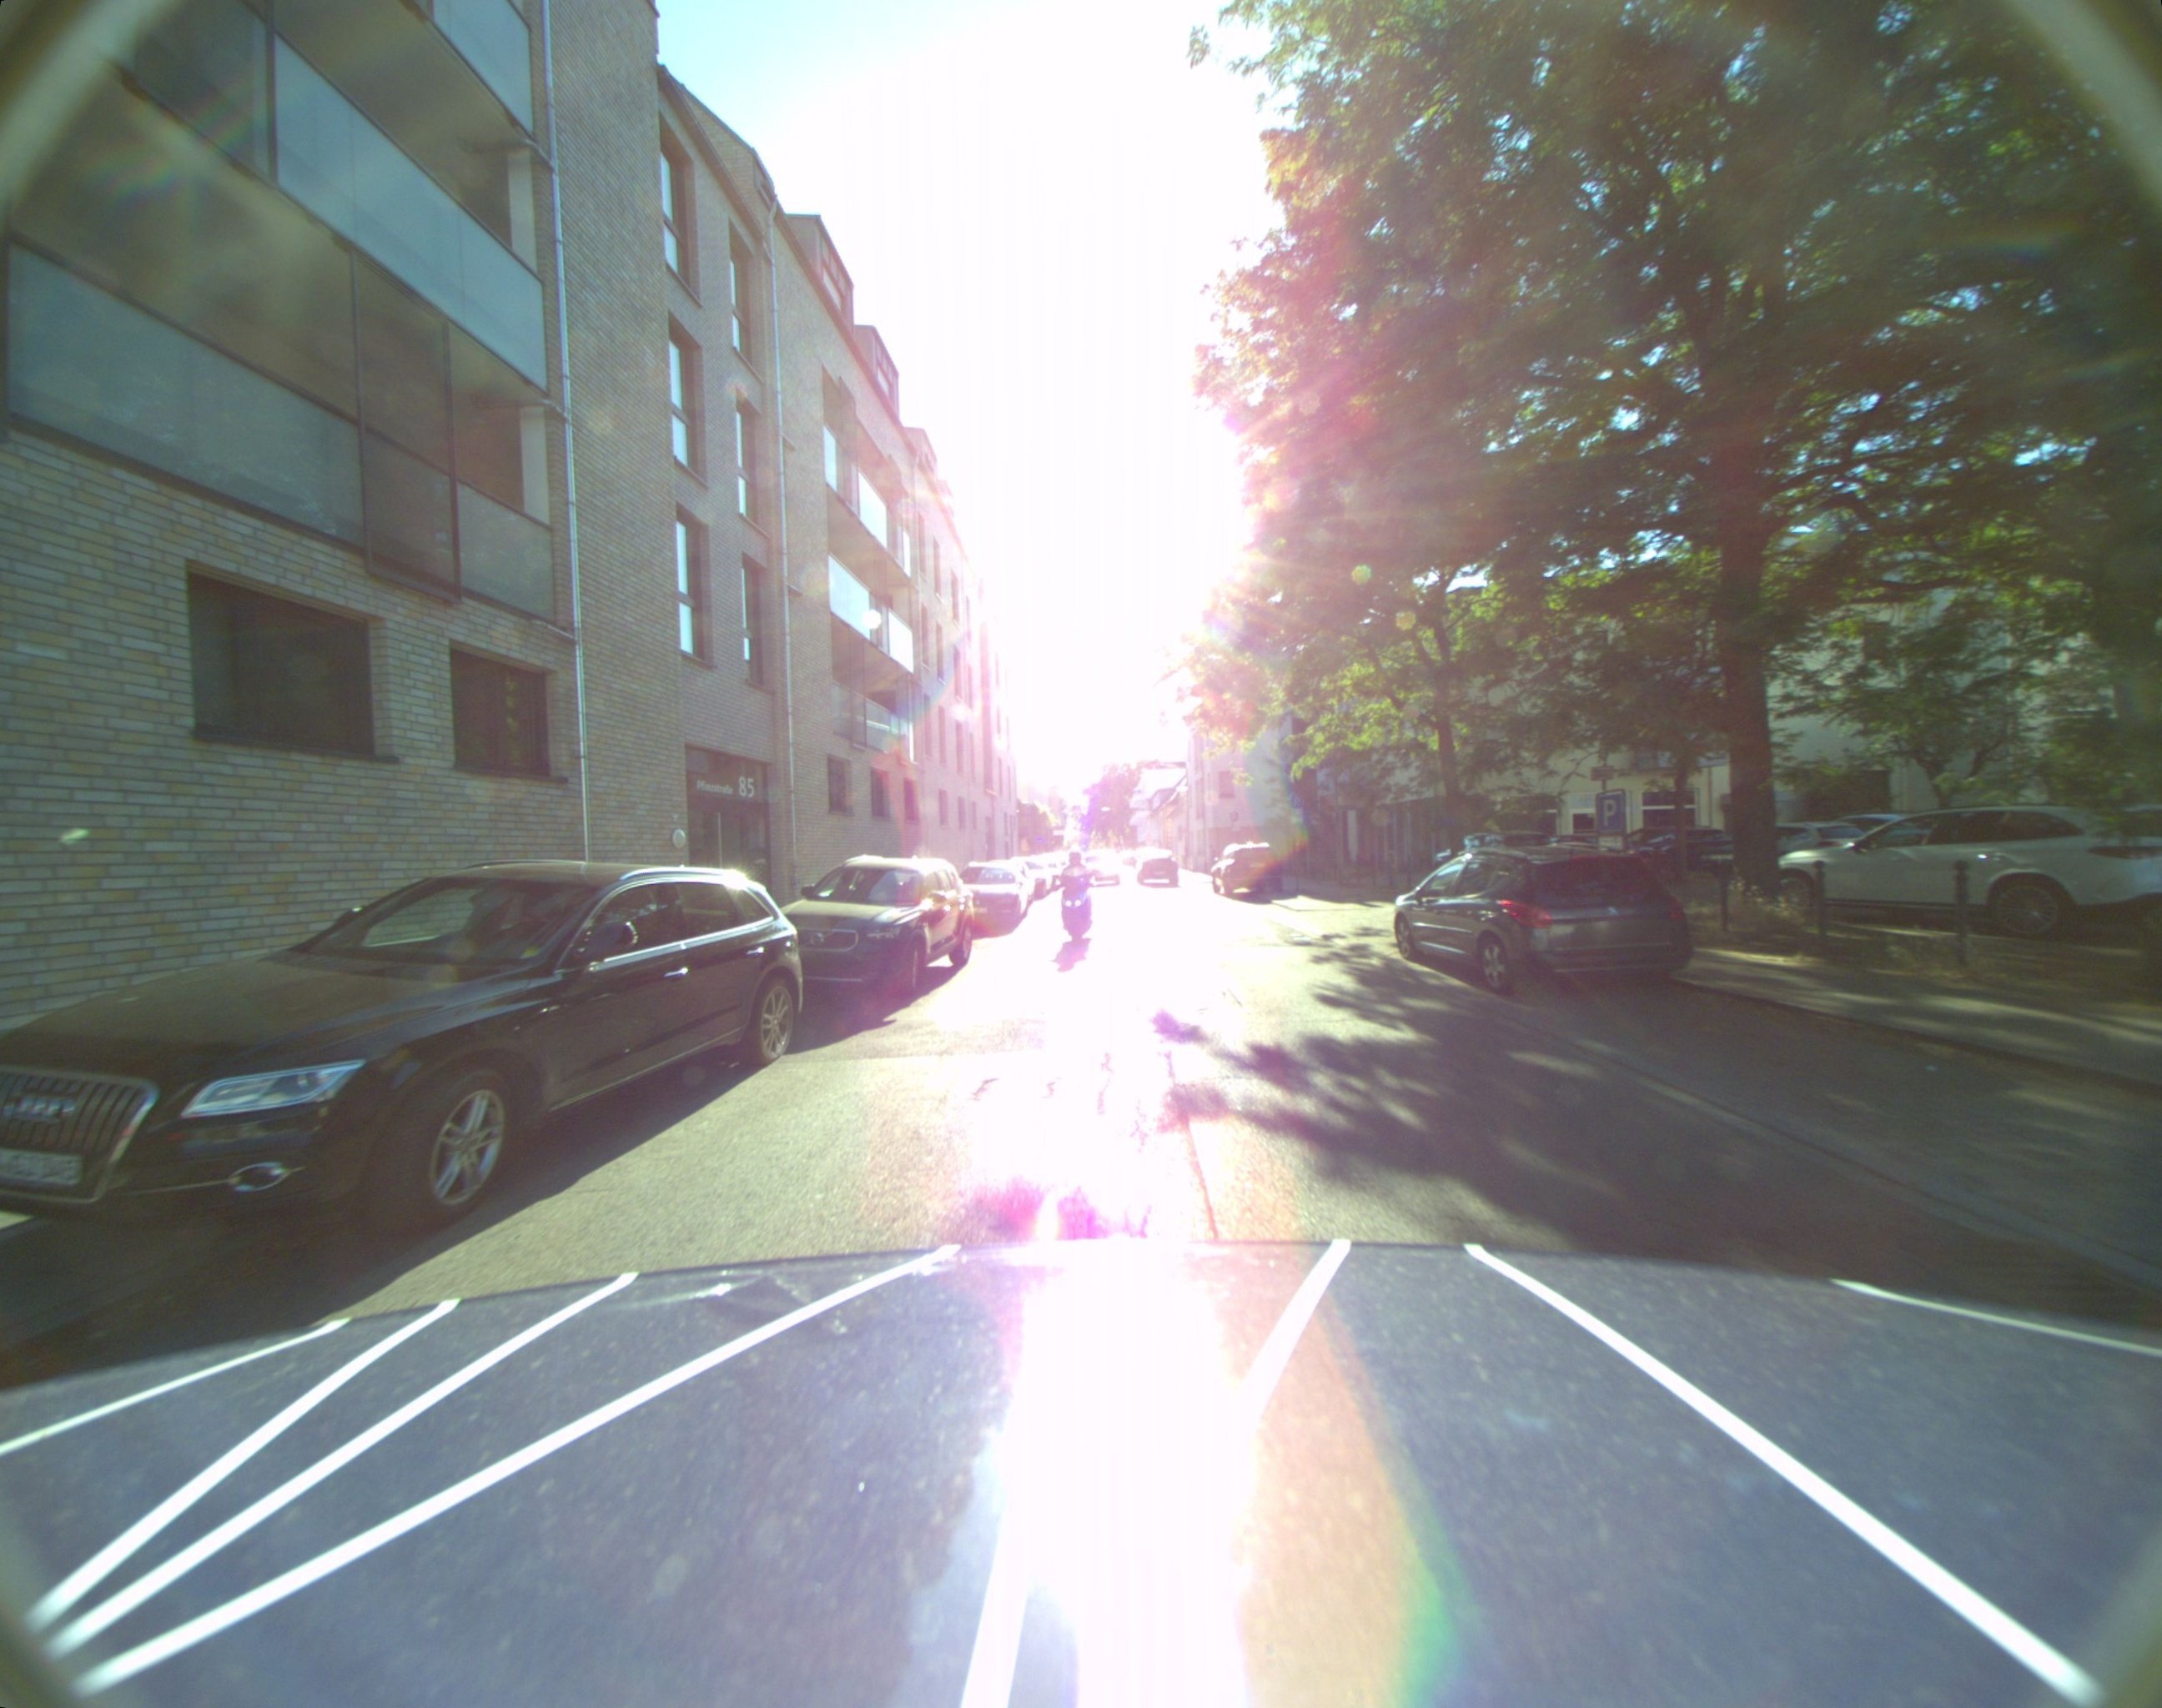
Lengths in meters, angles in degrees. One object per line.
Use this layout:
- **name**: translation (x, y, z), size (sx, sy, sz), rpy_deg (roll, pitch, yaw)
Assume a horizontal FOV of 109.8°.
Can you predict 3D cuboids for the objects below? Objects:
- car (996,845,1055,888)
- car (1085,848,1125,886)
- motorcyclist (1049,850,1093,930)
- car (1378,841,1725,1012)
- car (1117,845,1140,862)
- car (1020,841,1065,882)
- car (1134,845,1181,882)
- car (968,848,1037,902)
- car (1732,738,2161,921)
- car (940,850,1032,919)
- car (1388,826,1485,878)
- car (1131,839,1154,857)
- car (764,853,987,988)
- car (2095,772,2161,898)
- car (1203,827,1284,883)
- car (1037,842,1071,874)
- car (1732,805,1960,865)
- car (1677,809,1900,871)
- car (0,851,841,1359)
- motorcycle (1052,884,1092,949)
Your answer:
- **car**: translation (-2.102, 0.420, 29.845), size (1.729, 1.521, 4.626), rpy_deg (1, 1, 3)
- **car**: translation (1.176, 0.589, 36.698), size (1.708, 1.570, 3.915), rpy_deg (-4, 1, 2)
- **motorcyclist**: translation (-0.175, 0.646, 14.145), size (0.717, 1.425, 0.746), rpy_deg (-2, 1, 3)
- **car**: translation (5.094, 0.636, 8.967), size (1.701, 1.483, 4.000), rpy_deg (-3, 1, 3)
- **car**: translation (4.386, -0.105, 70.116), size (1.811, 1.458, 3.999), rpy_deg (-2, 1, 0)
- **car**: translation (-1.698, 0.288, 35.143), size (1.671, 1.724, 4.838), rpy_deg (-2, 1, 1)
- **car**: translation (3.637, 0.413, 36.851), size (1.943, 1.567, 4.319), rpy_deg (-2, 1, 2)
- **car**: translation (-2.386, 0.590, 23.994), size (1.668, 1.507, 4.218), rpy_deg (-1, 1, 1)
- **car**: translation (11.878, -0.300, 10.312), size (1.848, 1.884, 4.905), rpy_deg (-3, 0, 0)
- **car**: translation (-2.272, 0.668, 19.346), size (1.700, 1.459, 4.719), rpy_deg (-1, 1, 0)
- **car**: translation (10.814, -0.087, 23.369), size (1.524, 1.400, 3.640), rpy_deg (-2, 1, 5)
- **car**: translation (6.627, -0.706, 82.460), size (1.998, 1.619, 4.000), rpy_deg (-9, 1, 1)
- **car**: translation (-2.659, 0.775, 10.983), size (1.820, 1.458, 4.270), rpy_deg (-2, 1, 3)
- **car**: translation (17.877, -0.329, 10.410), size (2.024, 1.937, 4.320), rpy_deg (-3, 1, -8)
- **car**: translation (5.809, -0.013, 27.775), size (1.936, 1.695, 5.100), rpy_deg (-5, 1, 3)
- **car**: translation (-1.376, 0.193, 40.383), size (1.654, 1.583, 4.341), rpy_deg (-1, 1, 0)
- **car**: translation (23.264, -0.538, 23.500), size (1.943, 1.551, 5.187), rpy_deg (-2, 0, 3)
- **car**: translation (20.502, -0.403, 22.399), size (1.998, 1.467, 4.831), rpy_deg (-5, 1, 0)
- **car**: translation (-3.633, 0.876, 5.050), size (1.893, 1.702, 4.776), rpy_deg (-2, 0, 9)
- **motorcycle**: translation (-0.150, 1.130, 14.165), size (0.598, 1.004, 1.821), rpy_deg (-2, 1, 3)
